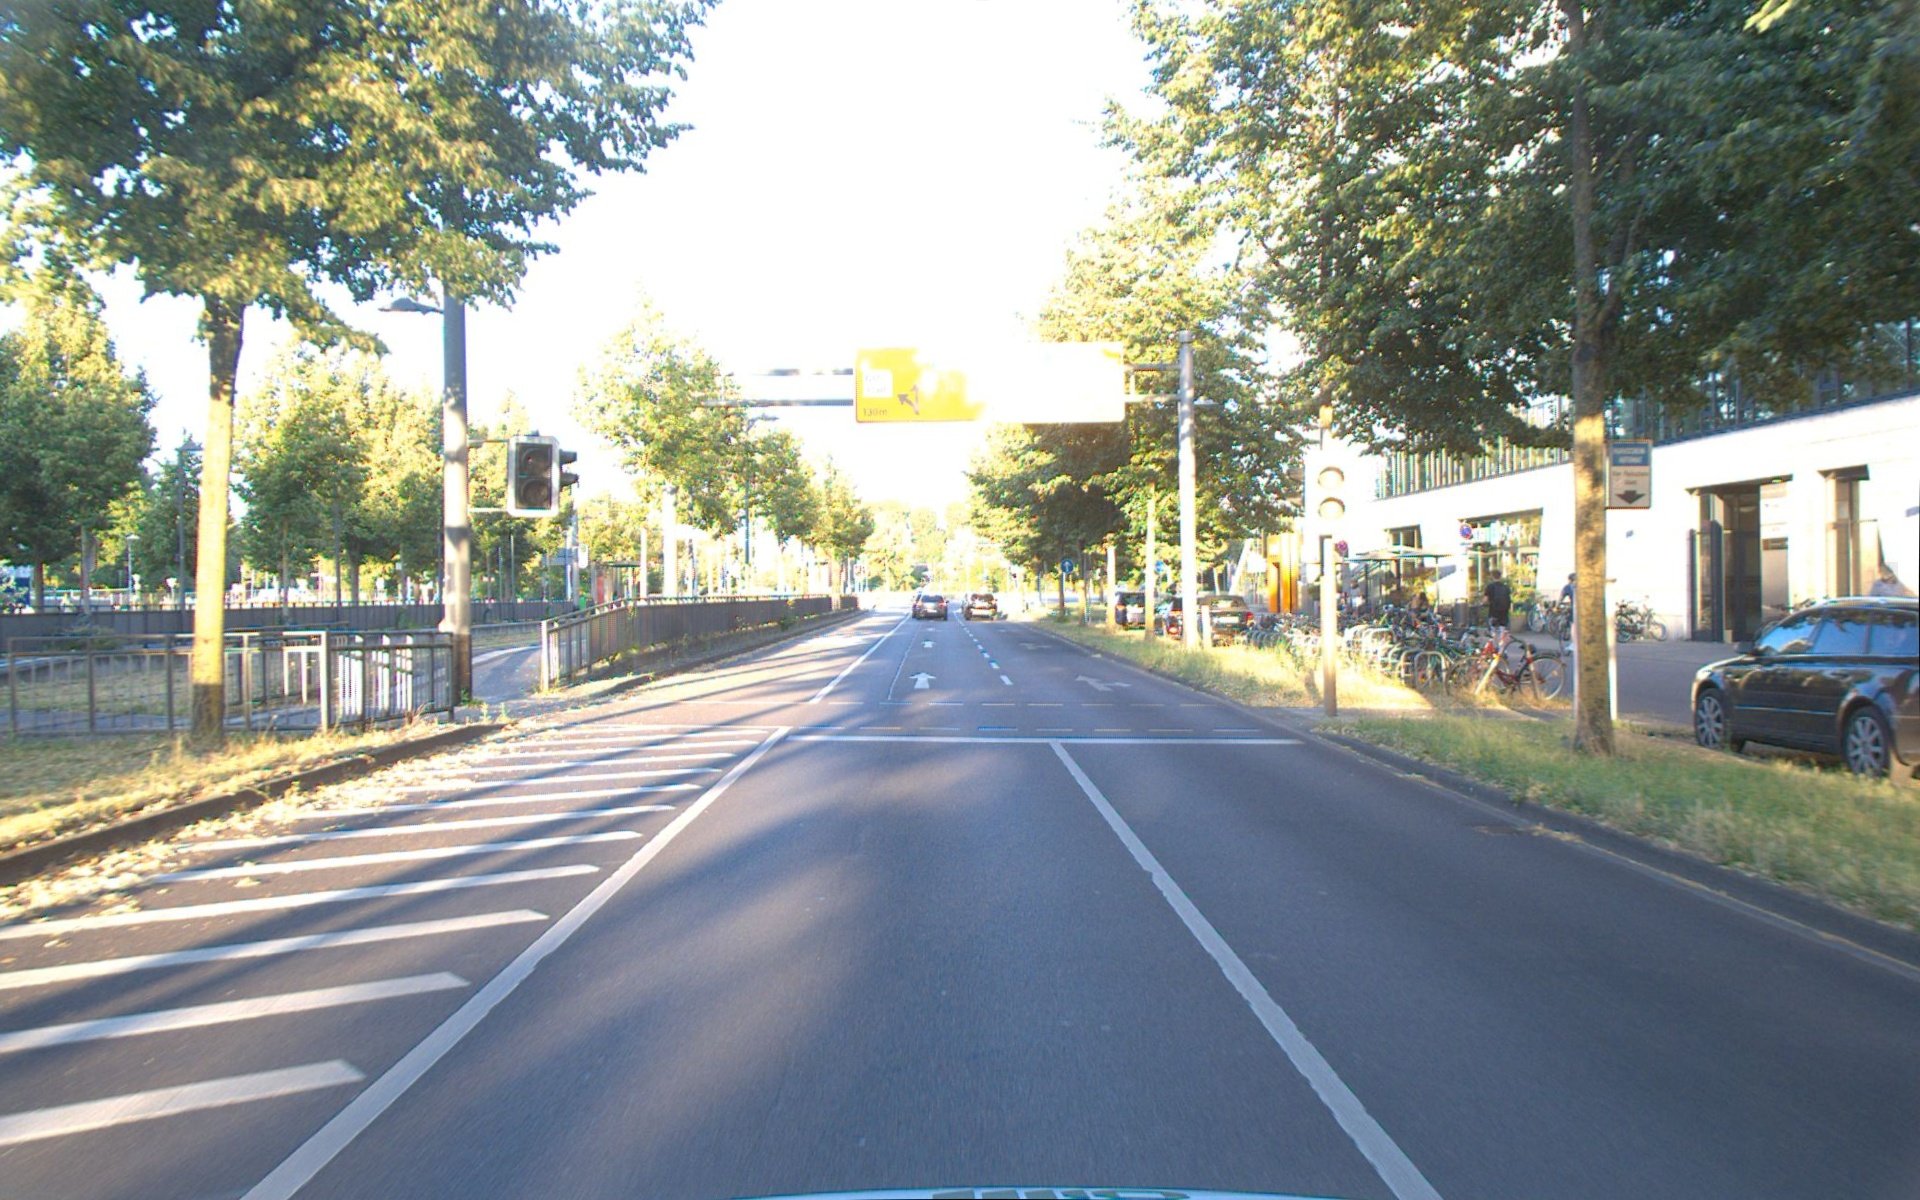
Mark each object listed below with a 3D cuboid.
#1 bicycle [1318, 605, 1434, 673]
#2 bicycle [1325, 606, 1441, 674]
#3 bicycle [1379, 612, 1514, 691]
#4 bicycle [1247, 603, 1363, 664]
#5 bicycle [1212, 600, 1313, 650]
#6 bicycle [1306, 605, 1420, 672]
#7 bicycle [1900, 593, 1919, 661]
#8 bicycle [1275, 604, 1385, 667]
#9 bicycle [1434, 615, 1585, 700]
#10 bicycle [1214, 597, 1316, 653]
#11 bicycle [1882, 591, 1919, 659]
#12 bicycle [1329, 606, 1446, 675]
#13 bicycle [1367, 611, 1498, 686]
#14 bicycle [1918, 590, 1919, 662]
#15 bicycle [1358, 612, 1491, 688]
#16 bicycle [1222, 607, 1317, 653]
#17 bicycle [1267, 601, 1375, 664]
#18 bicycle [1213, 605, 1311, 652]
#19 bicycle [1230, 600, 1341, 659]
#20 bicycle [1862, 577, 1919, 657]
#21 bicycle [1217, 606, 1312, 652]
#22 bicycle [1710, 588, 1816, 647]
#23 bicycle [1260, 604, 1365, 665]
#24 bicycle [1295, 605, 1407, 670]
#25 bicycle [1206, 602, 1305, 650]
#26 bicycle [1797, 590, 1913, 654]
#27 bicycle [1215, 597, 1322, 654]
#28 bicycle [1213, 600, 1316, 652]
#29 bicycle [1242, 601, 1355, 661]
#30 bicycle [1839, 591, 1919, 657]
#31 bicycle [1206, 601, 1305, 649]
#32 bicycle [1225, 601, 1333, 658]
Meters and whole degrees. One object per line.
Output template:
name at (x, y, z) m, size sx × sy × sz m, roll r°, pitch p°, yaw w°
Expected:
bicycle at (7.248, 0.682, 28.842) m, size 1.906 × 1.072 × 0.413 m, roll 3°, pitch 0°, yaw -9°
bicycle at (7.247, 0.690, 28.349) m, size 1.906 × 1.072 × 0.347 m, roll 3°, pitch 0°, yaw -9°
bicycle at (7.252, 0.764, 24.653) m, size 1.910 × 1.072 × 0.543 m, roll 3°, pitch 0°, yaw -16°
bicycle at (6.704, 0.649, 32.194) m, size 2.102 × 1.072 × 0.570 m, roll 3°, pitch 0°, yaw -8°
bicycle at (6.592, 0.546, 36.087) m, size 2.102 × 0.990 × 0.442 m, roll 3°, pitch 0°, yaw -8°
bicycle at (7.155, 0.683, 29.365) m, size 1.906 × 1.072 × 0.413 m, roll 3°, pitch 0°, yaw -9°
bicycle at (16.930, 0.443, 27.981) m, size 1.794 × 1.132 × 0.503 m, roll -1°, pitch 0°, yaw -4°
bicycle at (6.833, 0.653, 30.554) m, size 1.903 × 1.072 × 0.404 m, roll 3°, pitch 0°, yaw -4°
bicycle at (7.725, 0.805, 23.267) m, size 1.903 × 1.072 × 0.545 m, roll 3°, pitch 0°, yaw -2°
bicycle at (6.483, 0.530, 35.145) m, size 2.102 × 1.072 × 0.300 m, roll 3°, pitch 0°, yaw -8°
bicycle at (16.844, 0.418, 28.465) m, size 1.794 × 1.144 × 0.372 m, roll -1°, pitch 0°, yaw -4°
bicycle at (7.232, 0.691, 27.980) m, size 1.906 × 1.072 × 0.314 m, roll 3°, pitch 0°, yaw -9°
bicycle at (7.417, 0.764, 25.984) m, size 1.907 × 1.072 × 0.543 m, roll 3°, pitch 0°, yaw -12°
bicycle at (16.868, 0.420, 27.359) m, size 1.794 × 1.197 × 0.503 m, roll -1°, pitch 0°, yaw -4°
bicycle at (7.091, 0.764, 25.249) m, size 1.910 × 1.072 × 0.543 m, roll 3°, pitch 0°, yaw -16°
bicycle at (7.271, 0.698, 38.923) m, size 2.102 × 0.956 × 0.544 m, roll 3°, pitch 0°, yaw -8°
bicycle at (6.773, 0.611, 31.040) m, size 1.905 × 1.072 × 0.404 m, roll 3°, pitch 0°, yaw -8°
bicycle at (6.853, 0.652, 37.531) m, size 2.102 × 0.956 × 0.442 m, roll 3°, pitch 0°, yaw -8°
bicycle at (6.577, 0.596, 33.473) m, size 2.102 × 1.072 × 0.570 m, roll 3°, pitch 0°, yaw -8°
bicycle at (16.809, 0.285, 28.967) m, size 1.794 × 1.380 × 0.503 m, roll -1°, pitch 0°, yaw -4°
bicycle at (7.074, 0.678, 38.394) m, size 2.102 × 0.956 × 0.442 m, roll 3°, pitch 0°, yaw -8°
bicycle at (16.329, 0.350, 33.635) m, size 1.943 × 1.161 × 0.503 m, roll -1°, pitch 0°, yaw -4°
bicycle at (6.711, 0.657, 31.505) m, size 1.905 × 1.072 × 0.404 m, roll 3°, pitch 0°, yaw -8°
bicycle at (7.079, 0.672, 29.945) m, size 1.906 × 1.072 × 0.413 m, roll 3°, pitch 0°, yaw -9°
bicycle at (6.535, 0.574, 36.604) m, size 2.102 × 0.956 × 0.442 m, roll 3°, pitch 0°, yaw -8°
bicycle at (16.697, 0.408, 30.873) m, size 1.943 × 1.161 × 0.503 m, roll -1°, pitch 0°, yaw -4°
bicycle at (6.451, 0.539, 34.646) m, size 2.102 × 1.072 × 0.524 m, roll 3°, pitch 0°, yaw -8°
bicycle at (6.554, 0.563, 35.576) m, size 2.102 × 1.004 × 0.442 m, roll 3°, pitch 0°, yaw -8°
bicycle at (6.720, 0.611, 32.867) m, size 2.102 × 1.072 × 0.561 m, roll 3°, pitch 0°, yaw -8°
bicycle at (16.693, 0.417, 29.515) m, size 1.794 × 1.141 × 0.503 m, roll -1°, pitch 0°, yaw -4°
bicycle at (6.624, 0.559, 37.113) m, size 2.102 × 0.956 × 0.451 m, roll 3°, pitch 0°, yaw -8°
bicycle at (6.575, 0.603, 34.102) m, size 2.102 × 1.072 × 0.524 m, roll 3°, pitch 0°, yaw -8°
